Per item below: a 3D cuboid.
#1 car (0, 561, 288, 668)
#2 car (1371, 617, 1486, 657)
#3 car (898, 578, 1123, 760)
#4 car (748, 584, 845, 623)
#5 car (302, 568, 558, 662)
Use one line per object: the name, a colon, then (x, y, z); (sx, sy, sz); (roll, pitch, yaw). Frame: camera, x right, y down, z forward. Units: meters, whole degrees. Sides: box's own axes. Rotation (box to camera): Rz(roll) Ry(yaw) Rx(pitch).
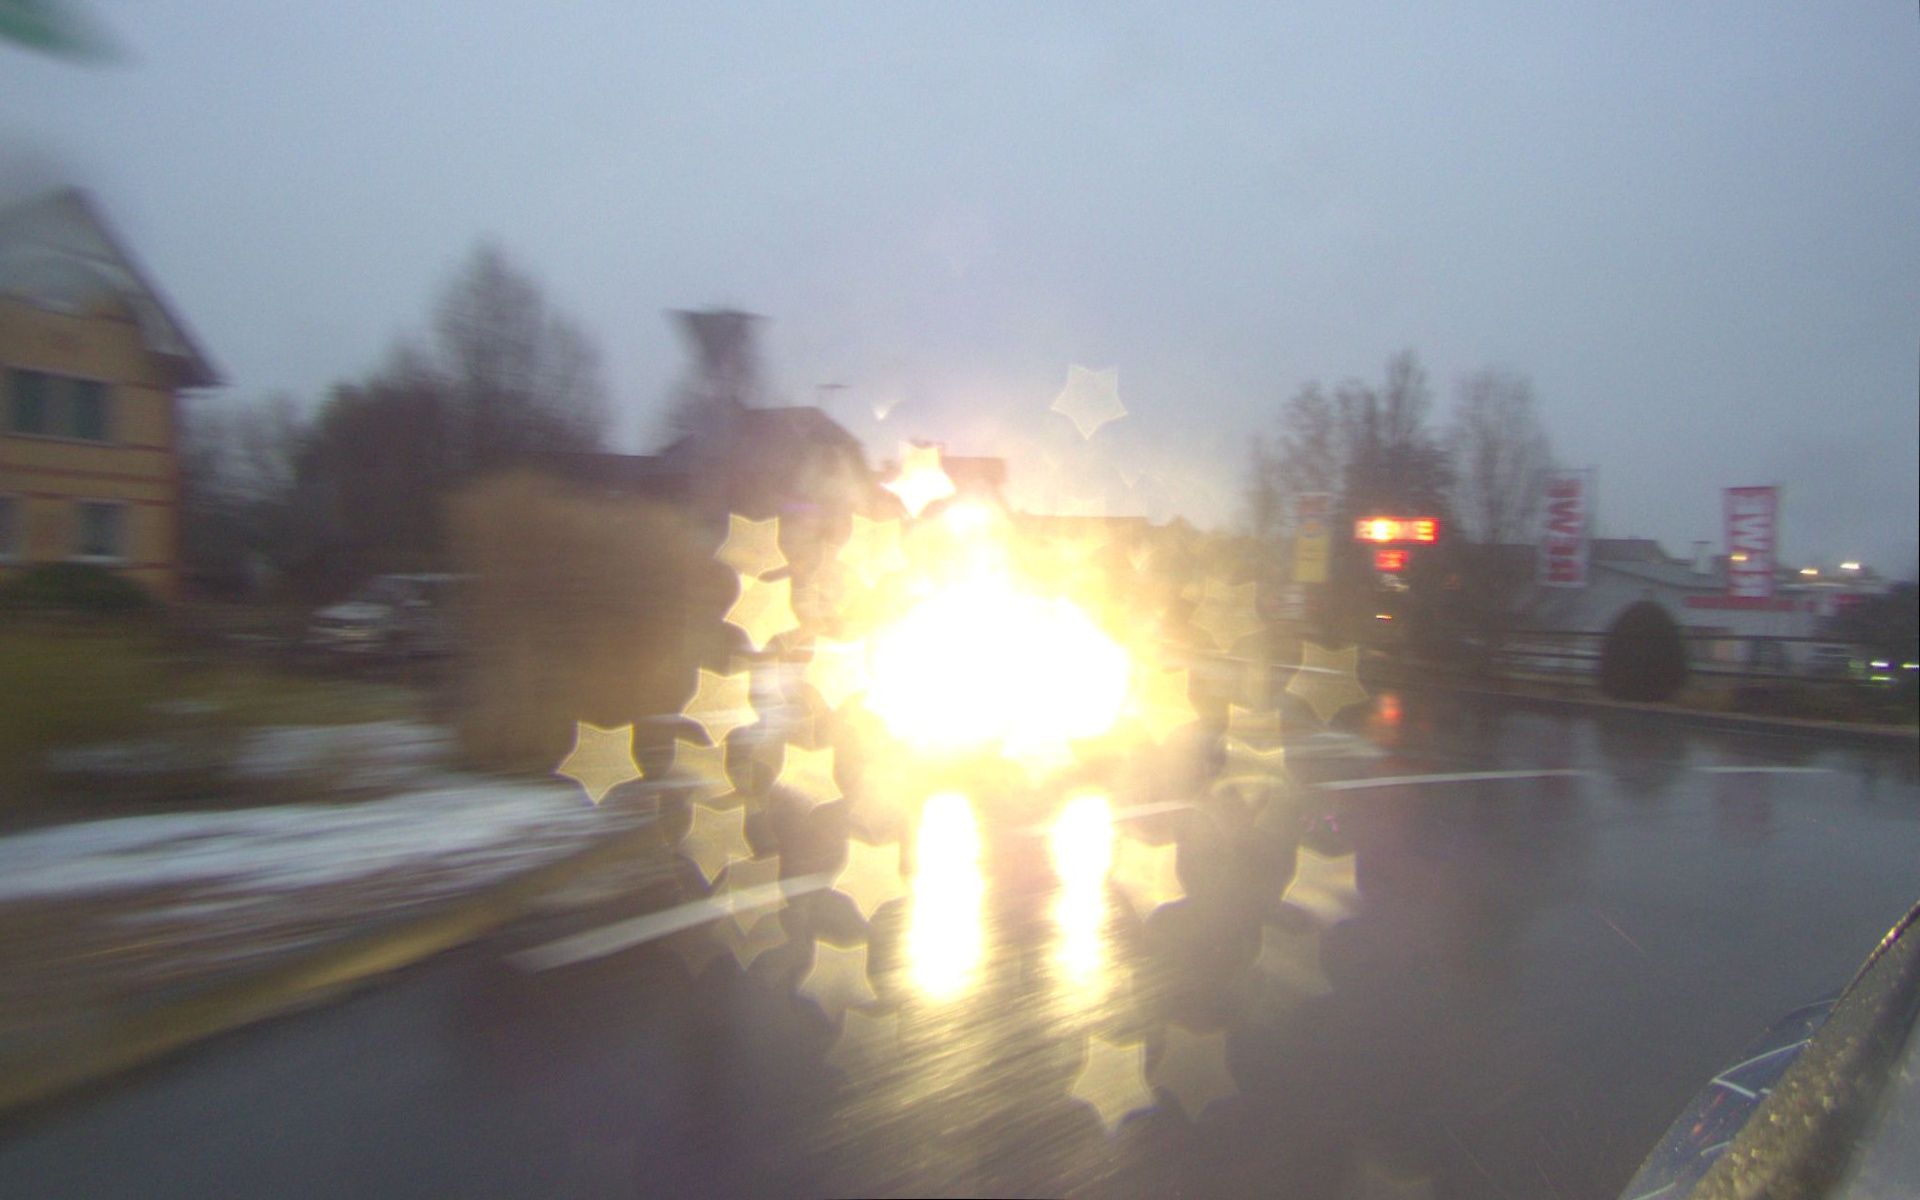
car: (-17.688, 0.165, 21.514); (2.343, 1.888, 5.288); (3, 3, 24)
car: (18.831, 1.475, 40.776); (3.875, 1.420, 1.612); (1, 1, -1)
car: (0.321, 0.574, 10.350); (1.629, 1.511, 3.716); (0, 0, -8)
car: (-7.352, 0.127, 45.465); (3.961, 1.504, 1.899); (3, 3, 26)
car: (-12.160, 0.302, 23.683); (1.919, 1.943, 5.200); (0, 0, 26)
